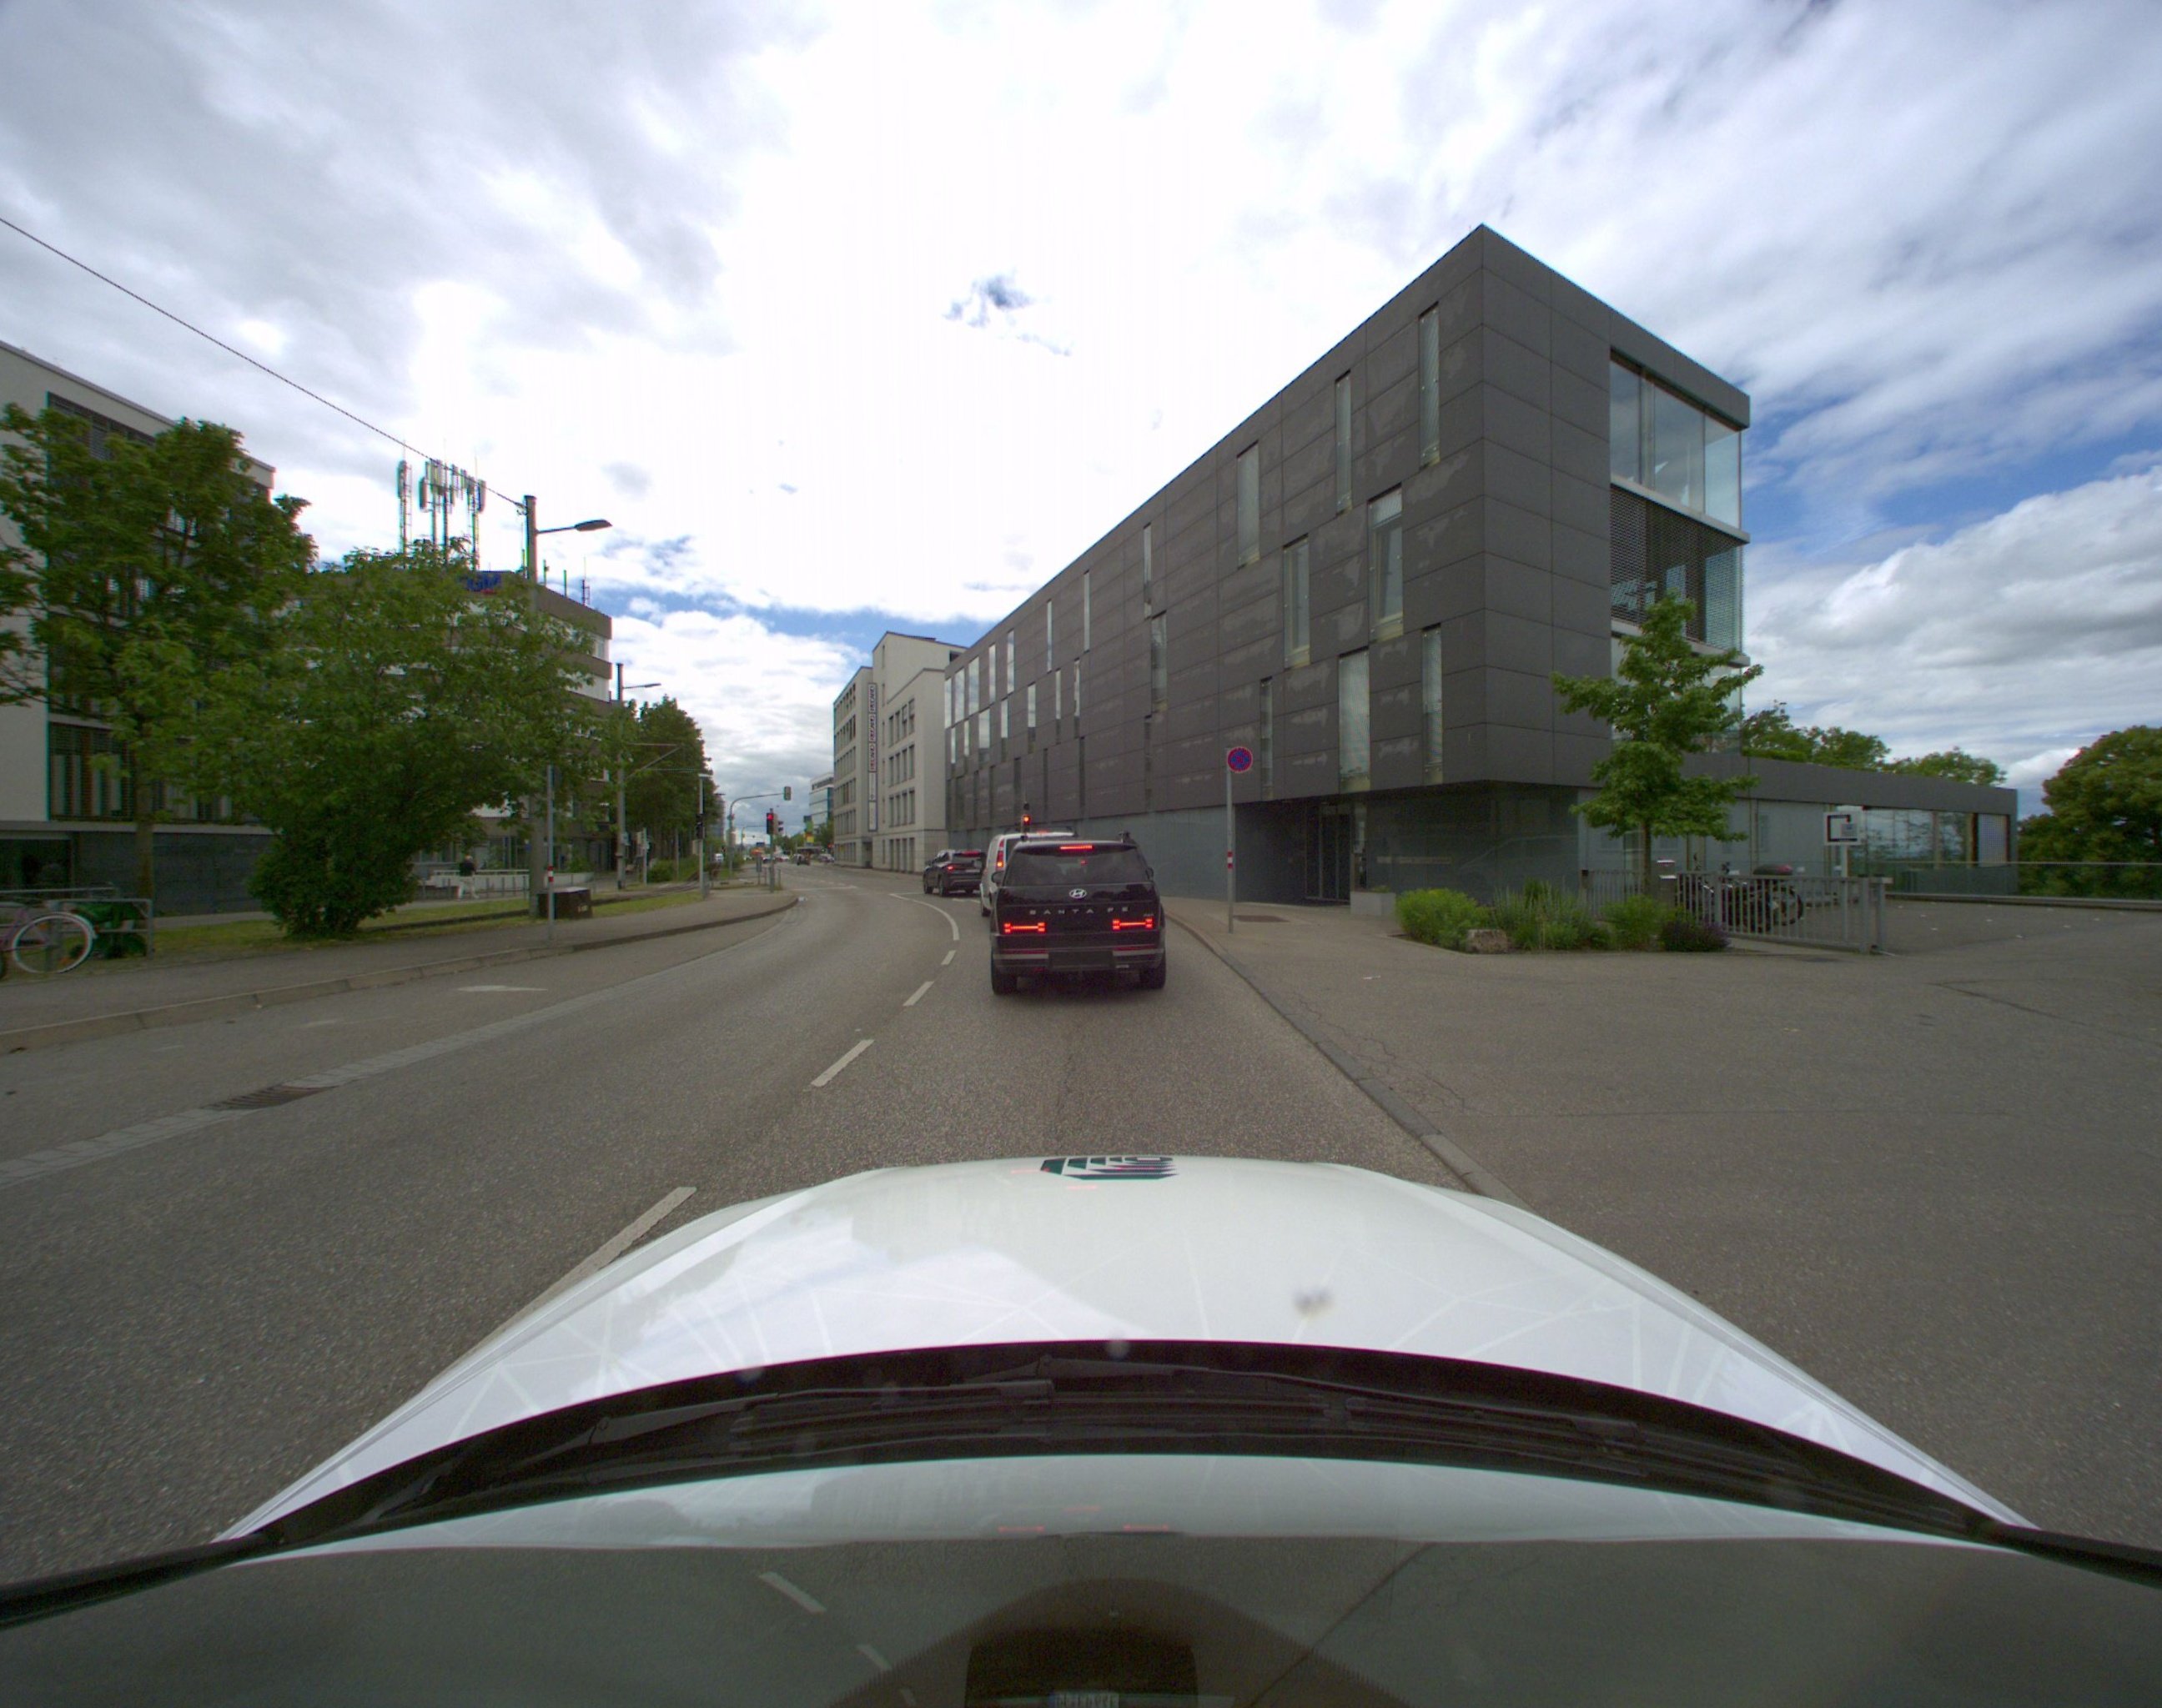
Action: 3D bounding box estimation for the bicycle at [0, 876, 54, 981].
[{"bbox_3d":[-12.654,0.799,8.901,2.091,1.106,0.632,1,0,2],"label":"bicycle"}]

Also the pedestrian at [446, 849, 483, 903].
[{"bbox_3d":[-23.521,0.818,31.089,0.768,2.014,0.885,2,-1,-18],"label":"pedestrian"}]

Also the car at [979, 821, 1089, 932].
[{"bbox_3d":[-1.147,0.394,17.465,1.855,2.033,4.422,-1,0,-10],"label":"car"}]

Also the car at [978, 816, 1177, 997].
[{"bbox_3d":[-0.080,0.507,10.015,1.910,1.725,4.168,1,0,-2],"label":"car"}]

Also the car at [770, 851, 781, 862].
[{"bbox_3d":[-55.466,0.498,147.946,1.857,1.923,3.974,-1,0,-19],"label":"car"}]

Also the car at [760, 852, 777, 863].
[{"bbox_3d":[-50.354,0.571,131.294,1.852,1.695,3.985,-1,0,-11],"label":"car"}]

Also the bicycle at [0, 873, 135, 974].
[{"bbox_3d":[-12.555,0.799,9.608,2.090,1.106,0.632,1,0,2],"label":"bicycle"}]

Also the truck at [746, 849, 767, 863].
[{"bbox_3d":[-70.834,0.407,177.550,2.593,2.825,6.912,-1,0,-36],"label":"truck"}]

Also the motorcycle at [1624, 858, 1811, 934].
[{"bbox_3d":[11.794,0.718,15.244,0.850,1.260,2.672,-1,0,-25],"label":"motorcycle"}]

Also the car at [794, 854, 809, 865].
[{"bbox_3d":[-42.091,0.814,122.690,1.904,1.486,3.977,-1,0,-17],"label":"car"}]

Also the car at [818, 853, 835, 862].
[{"bbox_3d":[-46.325,0.618,148.296,1.866,1.628,3.956,-1,0,-36],"label":"car"}]

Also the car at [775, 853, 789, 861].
[{"bbox_3d":[-63.352,0.713,172.480,1.866,1.628,3.956,-1,0,-36],"label":"car"}]

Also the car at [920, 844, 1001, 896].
[{"bbox_3d":[-4.427,0.561,29.436,1.856,1.677,4.341,-2,0,-23],"label":"car"}]

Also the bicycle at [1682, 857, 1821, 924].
[{"bbox_3d":[13.379,0.687,16.328,0.617,1.260,2.085,-1,0,-25],"label":"bicycle"}]
